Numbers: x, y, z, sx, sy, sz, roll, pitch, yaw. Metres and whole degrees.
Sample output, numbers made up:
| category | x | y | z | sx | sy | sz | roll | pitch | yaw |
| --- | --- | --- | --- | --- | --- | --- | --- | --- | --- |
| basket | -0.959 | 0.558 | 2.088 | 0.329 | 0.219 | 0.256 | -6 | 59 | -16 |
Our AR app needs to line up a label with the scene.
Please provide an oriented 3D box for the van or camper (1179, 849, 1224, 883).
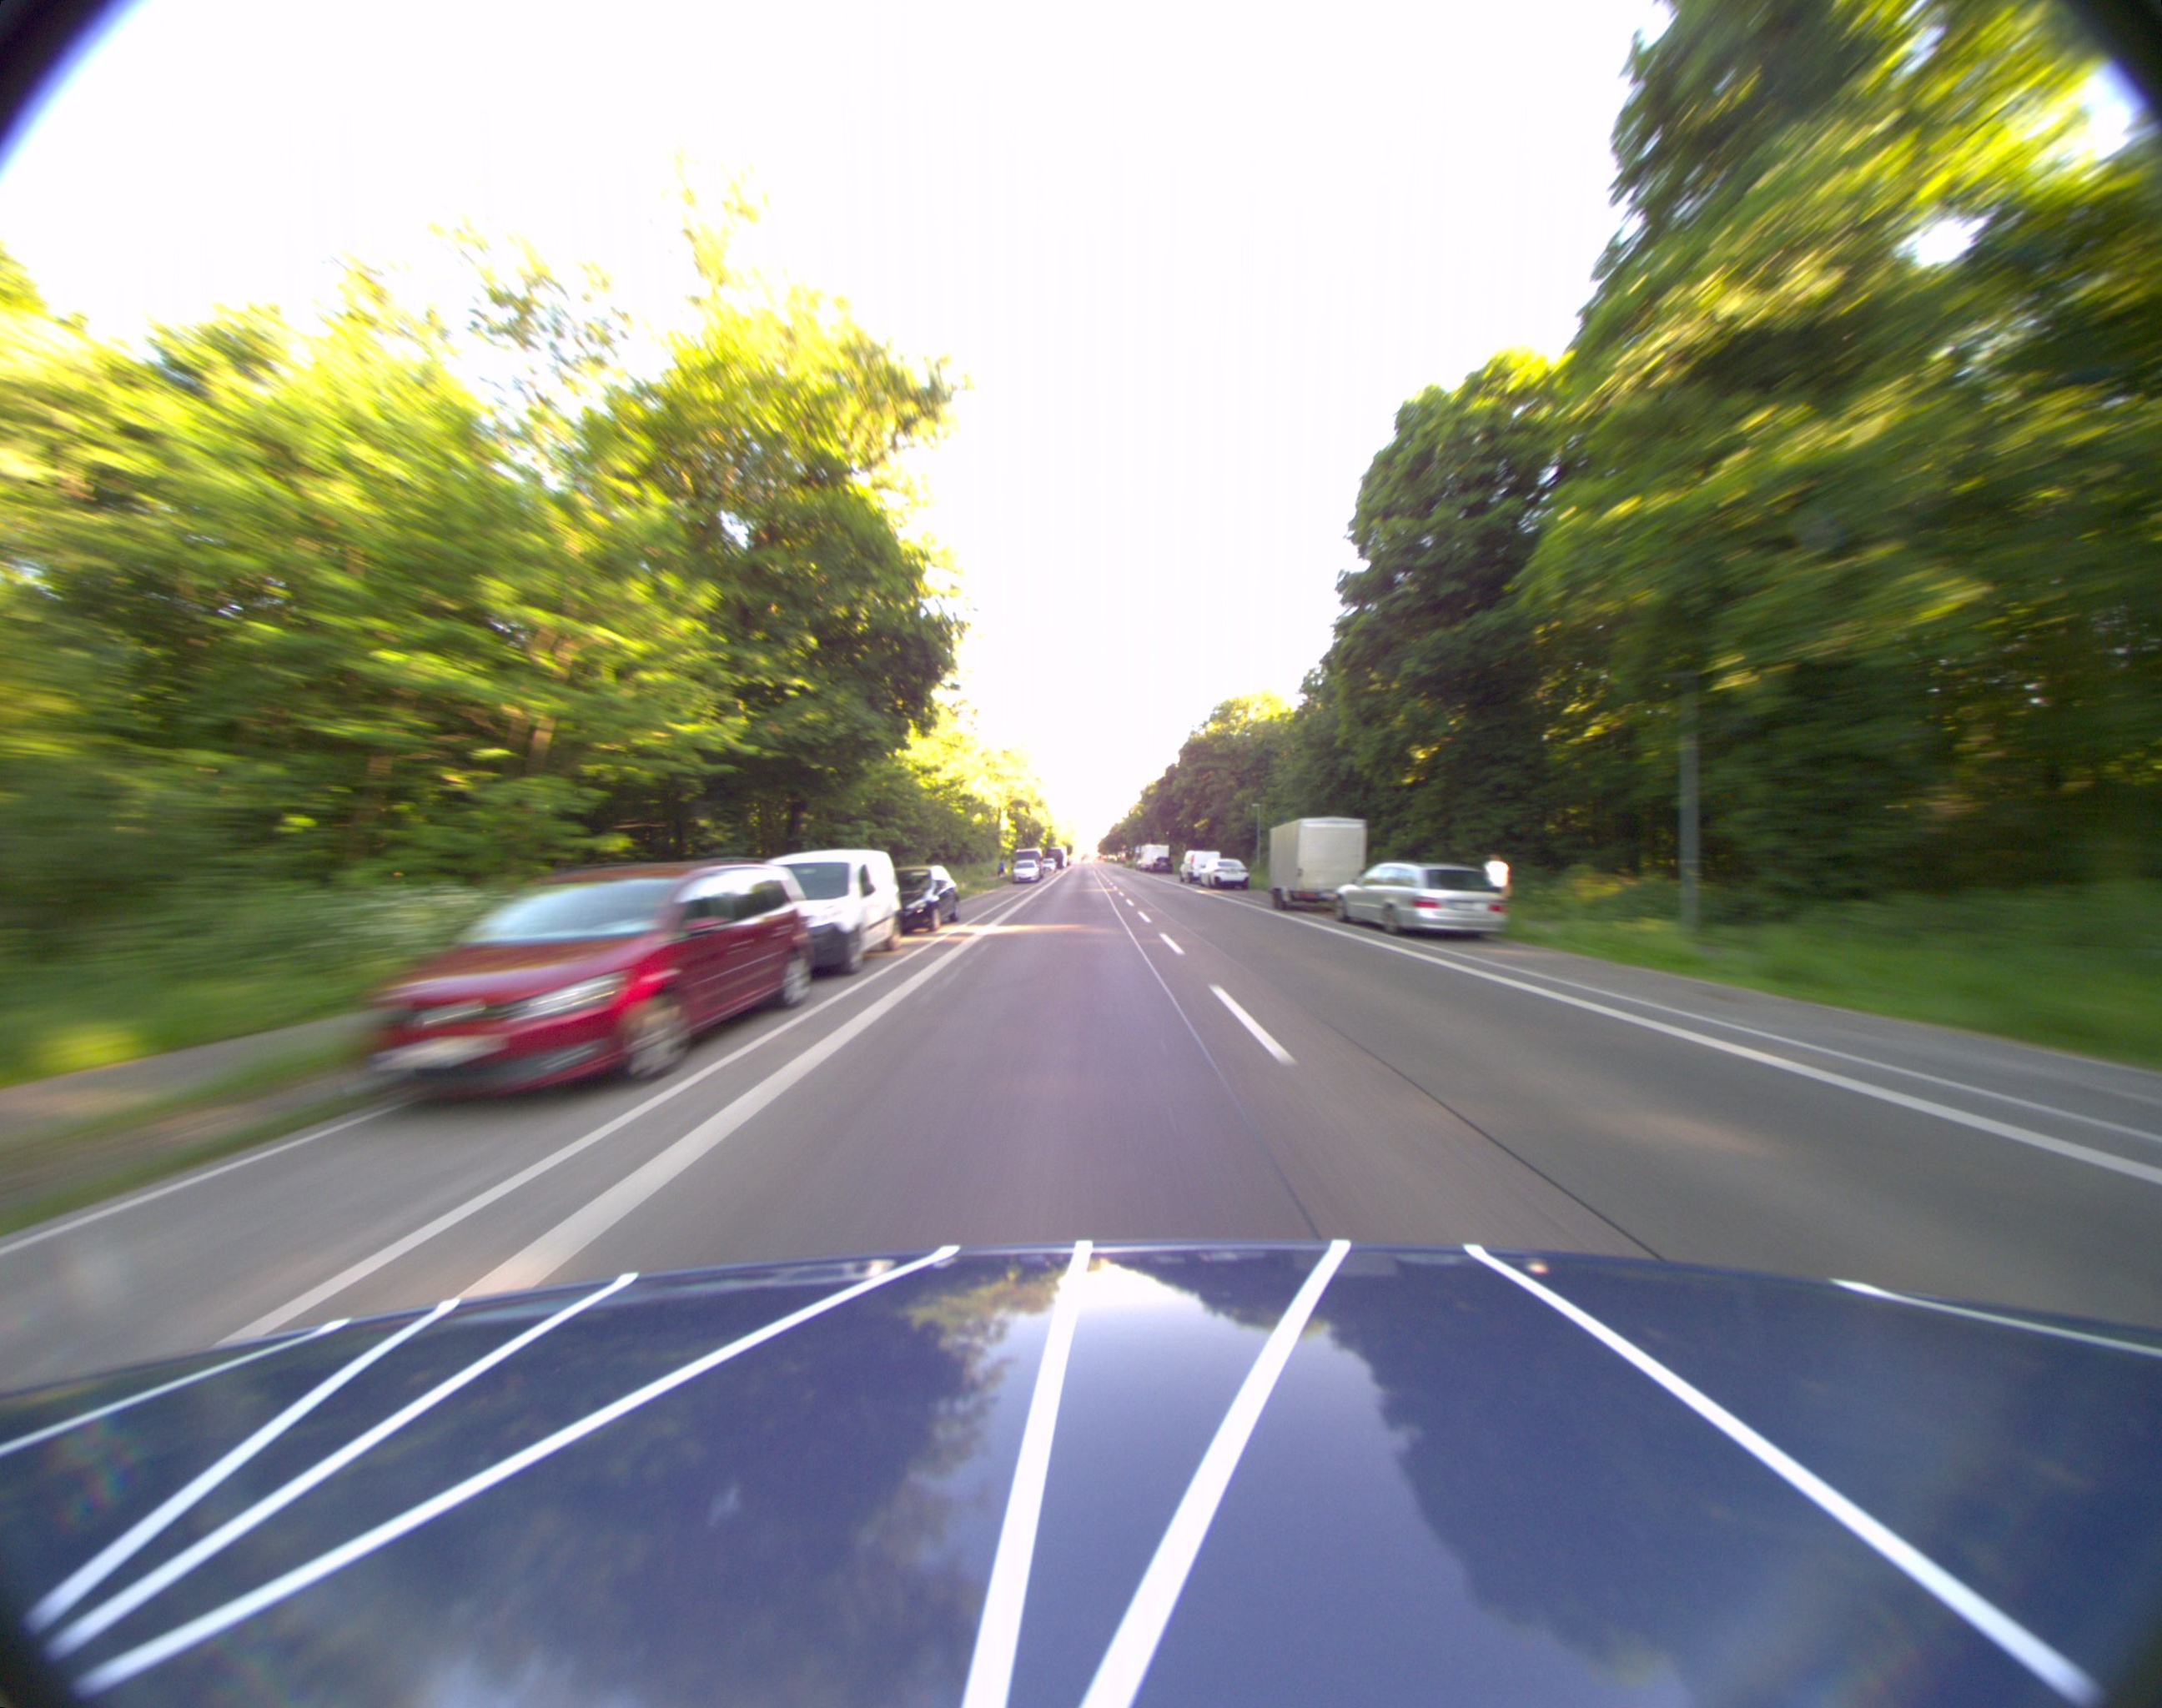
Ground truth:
| category | x | y | z | sx | sy | sz | roll | pitch | yaw |
| --- | --- | --- | --- | --- | --- | --- | --- | --- | --- |
| van or camper | 7.023 | 0.660 | 44.813 | 1.840 | 1.900 | 4.855 | 1 | 0 | 0 |

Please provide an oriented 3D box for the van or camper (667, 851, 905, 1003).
| category | x | y | z | sx | sy | sz | roll | pitch | yaw |
| --- | --- | --- | --- | --- | --- | --- | --- | --- | --- |
| van or camper | -4.140 | 0.900 | 11.570 | 1.956 | 1.805 | 4.379 | -2 | 0 | -2 |

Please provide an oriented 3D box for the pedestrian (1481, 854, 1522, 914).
| category | x | y | z | sx | sy | sz | roll | pitch | yaw |
| --- | --- | --- | --- | --- | --- | --- | --- | --- | --- |
| pedestrian | 11.301 | 0.800 | 20.443 | 0.716 | 1.558 | 0.700 | -1 | 1 | 1 |

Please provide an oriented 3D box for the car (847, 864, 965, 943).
| category | x | y | z | sx | sy | sz | roll | pitch | yaw |
| --- | --- | --- | --- | --- | --- | --- | --- | --- | --- |
| car | -3.947 | 1.048 | 17.858 | 1.694 | 1.515 | 4.149 | -2 | 0 | 1 |

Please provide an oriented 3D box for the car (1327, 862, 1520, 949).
| category | x | y | z | sx | sy | sz | roll | pitch | yaw |
| --- | --- | --- | --- | --- | --- | --- | --- | --- | --- |
| car | 6.799 | 0.936 | 15.714 | 1.802 | 1.445 | 4.624 | 1 | 0 | -1 |

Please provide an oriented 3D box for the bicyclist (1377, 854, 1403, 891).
| category | x | y | z | sx | sy | sz | roll | pitch | yaw |
| --- | --- | --- | --- | --- | --- | --- | --- | --- | --- |
| bicyclist | 10.554 | 0.609 | 25.987 | 0.488 | 1.228 | 0.974 | -1 | 0 | 1 |

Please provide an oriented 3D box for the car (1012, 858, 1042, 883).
| category | x | y | z | sx | sy | sz | roll | pitch | yaw |
| --- | --- | --- | --- | --- | --- | --- | --- | --- | --- |
| car | -3.585 | 1.049 | 51.227 | 1.752 | 1.506 | 3.999 | -3 | 0 | -1 |

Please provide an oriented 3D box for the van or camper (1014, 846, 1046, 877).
| category | x | y | z | sx | sy | sz | roll | pitch | yaw |
| --- | --- | --- | --- | --- | --- | --- | --- | --- | --- |
| van or camper | -3.861 | 0.544 | 58.709 | 2.040 | 2.298 | 6.040 | 0 | 0 | 0 |

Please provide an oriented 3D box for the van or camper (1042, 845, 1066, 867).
| category | x | y | z | sx | sy | sz | roll | pitch | yaw |
| --- | --- | --- | --- | --- | --- | --- | --- | --- | --- |
| van or camper | -3.527 | 0.293 | 98.626 | 2.449 | 2.783 | 6.552 | -1 | -1 | -8 |

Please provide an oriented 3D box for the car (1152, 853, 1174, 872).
| category | x | y | z | sx | sy | sz | roll | pitch | yaw |
| --- | --- | --- | --- | --- | --- | --- | --- | --- | --- |
| car | 7.587 | 0.763 | 70.609 | 1.650 | 1.622 | 4.273 | 1 | 0 | 1 |

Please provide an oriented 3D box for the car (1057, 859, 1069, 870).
| category | x | y | z | sx | sy | sz | roll | pitch | yaw |
| --- | --- | --- | --- | --- | --- | --- | --- | --- | --- |
| car | -2.860 | 1.696 | 123.669 | 1.716 | 1.559 | 4.000 | -3 | 0 | 0 |

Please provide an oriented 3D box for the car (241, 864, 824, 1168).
| category | x | y | z | sx | sy | sz | roll | pitch | yaw |
| --- | --- | --- | --- | --- | --- | --- | --- | --- | --- |
| car | -3.977 | 0.995 | 6.663 | 1.839 | 1.651 | 4.338 | -3 | 0 | 1 |

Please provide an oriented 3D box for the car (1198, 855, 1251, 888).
| category | x | y | z | sx | sy | sz | roll | pitch | yaw |
| --- | --- | --- | --- | --- | --- | --- | --- | --- | --- |
| car | 7.040 | 0.813 | 37.707 | 1.779 | 1.531 | 4.524 | 1 | 0 | 0 |

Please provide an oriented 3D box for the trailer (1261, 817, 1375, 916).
| category | x | y | z | sx | sy | sz | roll | pitch | yaw |
| --- | --- | --- | --- | --- | --- | --- | --- | --- | --- |
| trailer | 6.832 | 0.322 | 22.450 | 1.998 | 2.582 | 4.415 | 1 | 0 | 1 |

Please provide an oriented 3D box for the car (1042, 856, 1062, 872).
| category | x | y | z | sx | sy | sz | roll | pitch | yaw |
| --- | --- | --- | --- | --- | --- | --- | --- | --- | --- |
| car | -3.003 | 1.041 | 79.493 | 1.716 | 1.536 | 4.022 | -3 | 0 | 2 |

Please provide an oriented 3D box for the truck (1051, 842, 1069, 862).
| category | x | y | z | sx | sy | sz | roll | pitch | yaw |
| --- | --- | --- | --- | --- | --- | --- | --- | --- | --- |
| truck | -3.662 | -0.352 | 133.947 | 2.840 | 3.477 | 8.577 | -1 | 0 | 0 |

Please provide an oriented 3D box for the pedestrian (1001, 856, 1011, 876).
| category | x | y | z | sx | sy | sz | roll | pitch | yaw |
| --- | --- | --- | --- | --- | --- | --- | --- | --- | --- |
| pedestrian | -7.019 | 1.121 | 71.338 | 0.770 | 1.907 | 0.919 | -1 | 1 | 1 |

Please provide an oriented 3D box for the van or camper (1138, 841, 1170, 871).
| category | x | y | z | sx | sy | sz | roll | pitch | yaw |
| --- | --- | --- | --- | --- | --- | --- | --- | --- | --- |
| van or camper | 7.547 | 0.170 | 79.438 | 2.321 | 2.952 | 7.109 | 1 | 0 | -2 |

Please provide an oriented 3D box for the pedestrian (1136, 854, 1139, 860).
| category | x | y | z | sx | sy | sz | roll | pitch | yaw |
| --- | --- | --- | --- | --- | --- | --- | --- | --- | --- |
| pedestrian | 14.565 | 0.740 | 195.828 | 0.676 | 1.644 | 0.790 | -1 | 0 | 5 |
